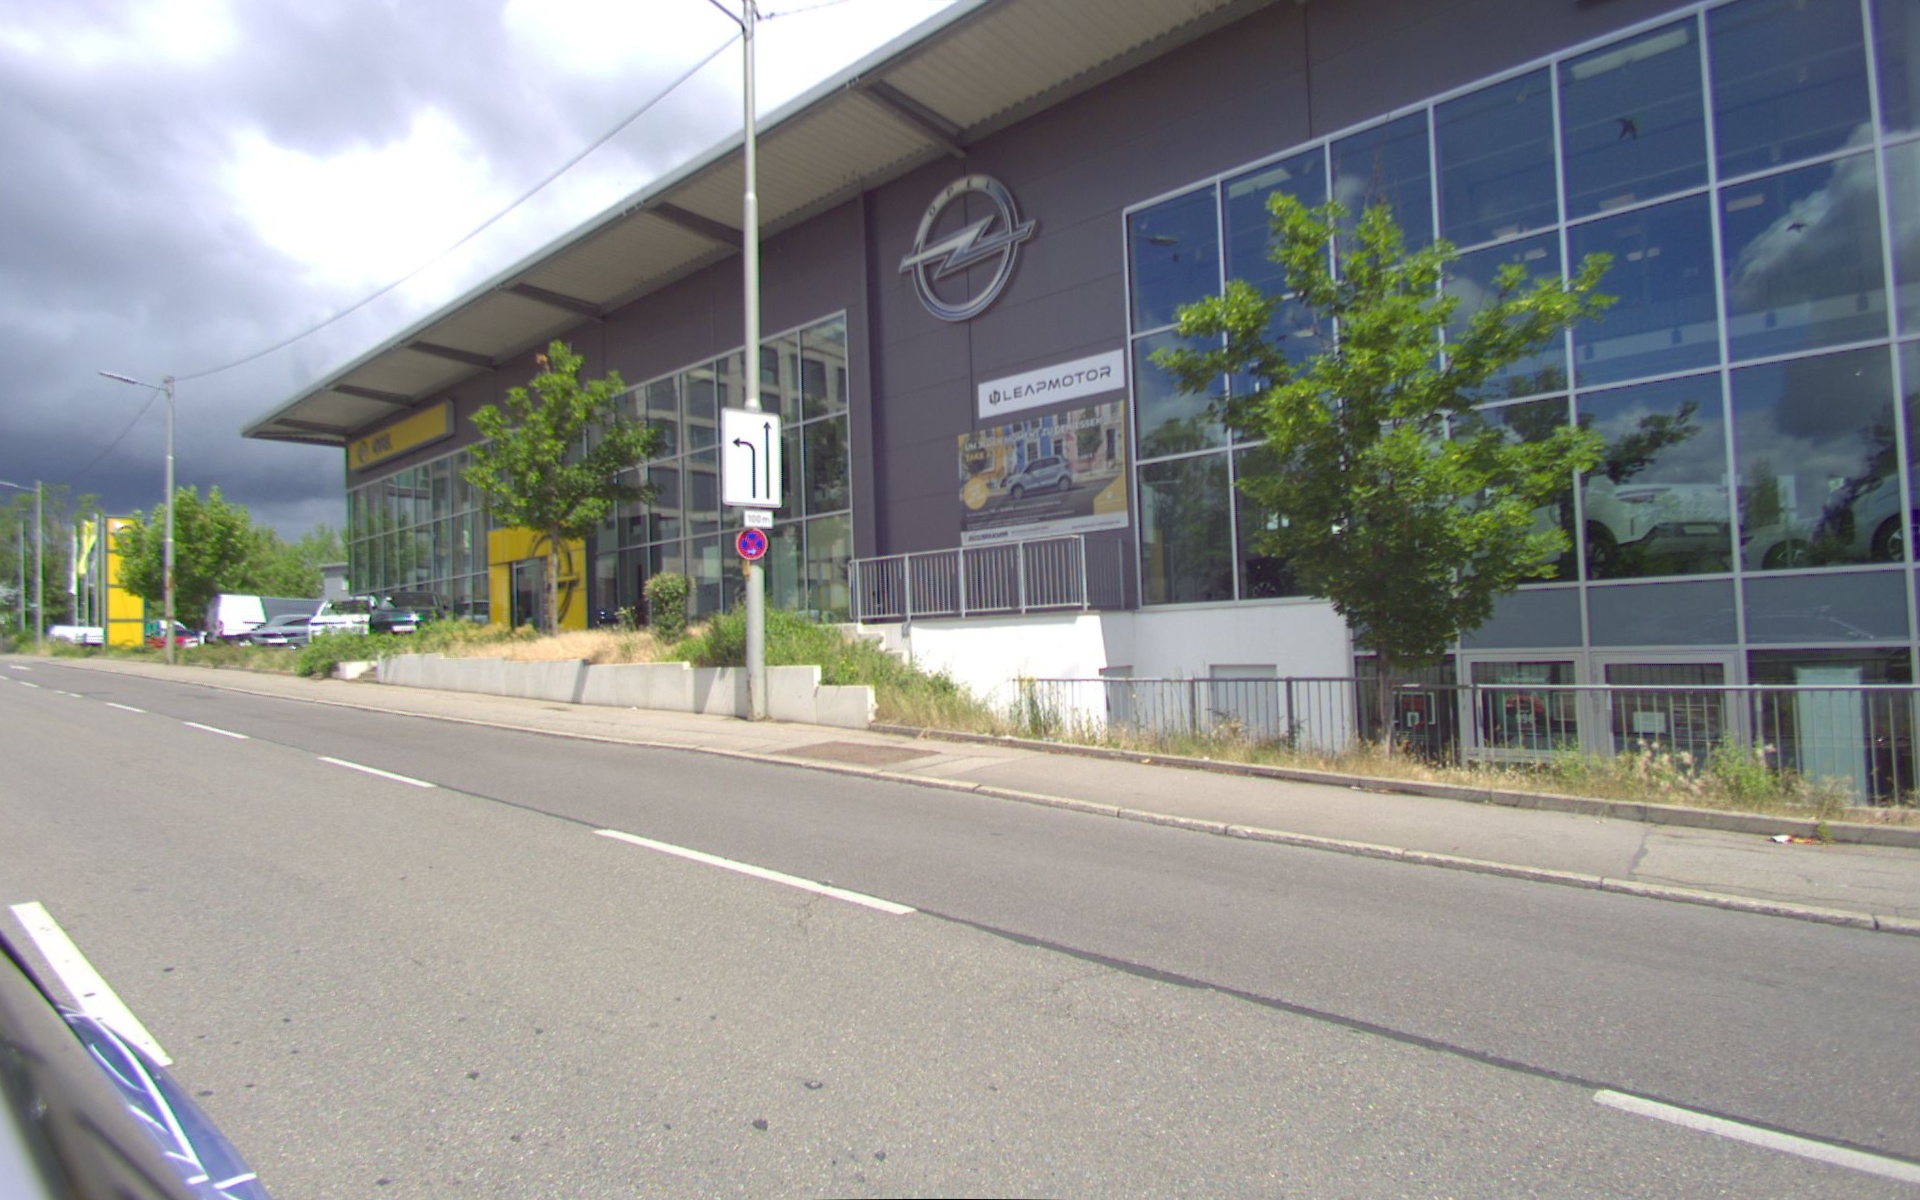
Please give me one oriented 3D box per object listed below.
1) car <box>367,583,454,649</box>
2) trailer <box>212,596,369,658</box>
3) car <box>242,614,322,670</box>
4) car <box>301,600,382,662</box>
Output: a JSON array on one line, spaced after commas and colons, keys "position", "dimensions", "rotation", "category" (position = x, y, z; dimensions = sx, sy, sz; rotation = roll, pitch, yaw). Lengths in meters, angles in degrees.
[{"position": [-15.686, 0.478, 28.806], "dimensions": [1.966, 1.741, 4.011], "rotation": [1, -2, -31], "category": "car"}, {"position": [-27.423, 1.095, 41.609], "dimensions": [1.998, 2.367, 5.011], "rotation": [-1, -2, 39], "category": "trailer"}, {"position": [-23.477, 1.415, 35.156], "dimensions": [1.966, 1.807, 4.012], "rotation": [1, -1, -29], "category": "car"}, {"position": [-19.212, 0.955, 31.594], "dimensions": [1.966, 1.807, 4.012], "rotation": [1, -2, -29], "category": "car"}]
